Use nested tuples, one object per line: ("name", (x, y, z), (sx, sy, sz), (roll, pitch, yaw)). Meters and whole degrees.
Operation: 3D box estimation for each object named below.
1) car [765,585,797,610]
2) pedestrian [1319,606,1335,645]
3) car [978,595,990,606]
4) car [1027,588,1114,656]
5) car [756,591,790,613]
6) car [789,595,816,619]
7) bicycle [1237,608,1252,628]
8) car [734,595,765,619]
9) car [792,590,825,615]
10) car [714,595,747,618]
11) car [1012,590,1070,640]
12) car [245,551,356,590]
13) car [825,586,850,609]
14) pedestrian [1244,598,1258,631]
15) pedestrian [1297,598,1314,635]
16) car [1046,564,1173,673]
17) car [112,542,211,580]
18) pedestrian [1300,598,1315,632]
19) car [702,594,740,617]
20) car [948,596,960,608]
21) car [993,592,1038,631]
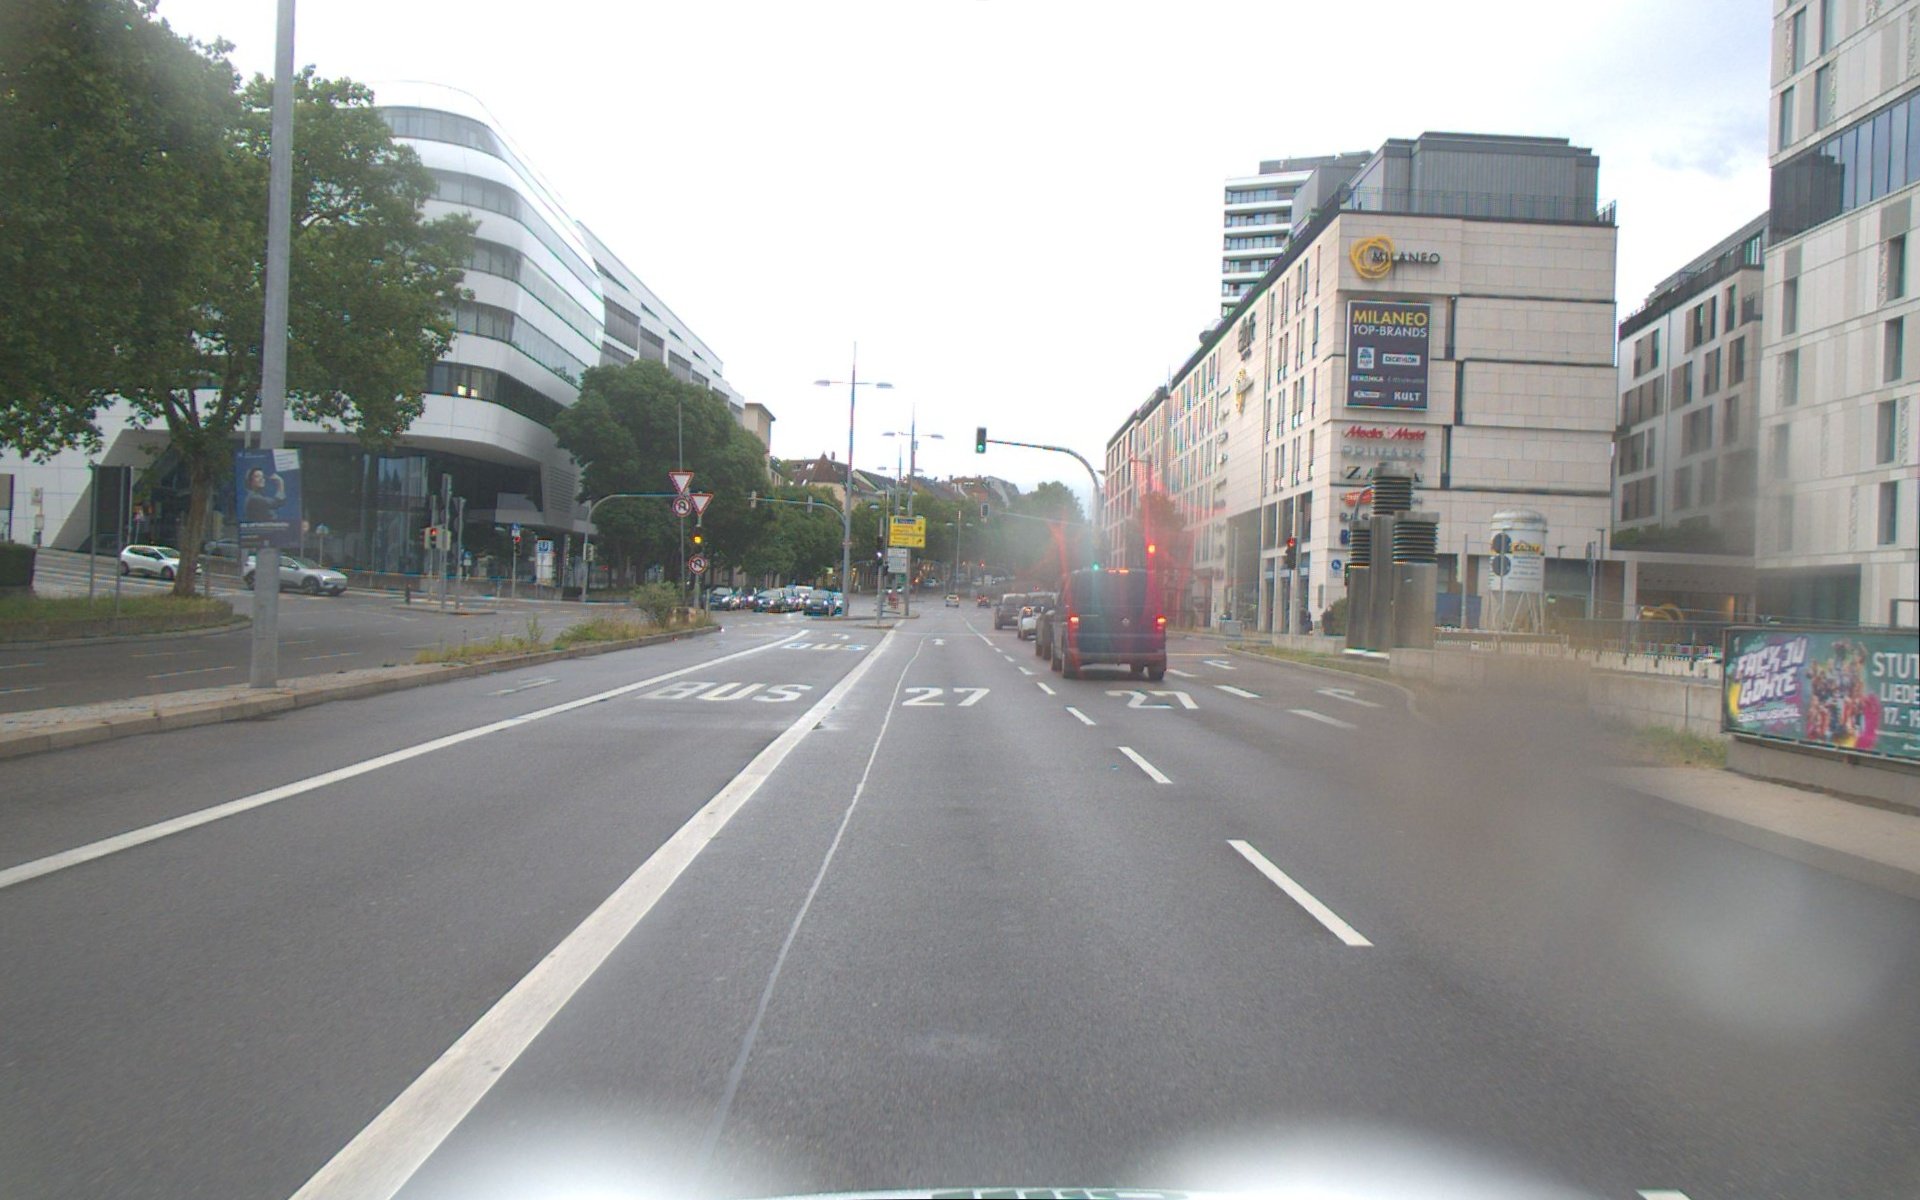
("car", (-11.948, -0.147, 110.632), (1.707, 1.586, 3.539), (1, -1, 0))
("pedestrian", (17.346, 1.200, 78.121), (0.435, 1.811, 0.589), (2, -1, -31))
("car", (3.504, 0.098, 241.107), (1.704, 1.558, 3.813), (1, -1, 0))
("car", (2.625, 0.497, 40.165), (1.754, 1.533, 4.338), (1, 0, -1))
("car", (-11.636, 0.131, 103.059), (1.707, 1.279, 3.539), (2, 0, 0))
("car", (-11.808, 0.547, 124.075), (1.707, 1.779, 3.539), (1, -1, 0))
("bicycle", (14.477, 0.927, 84.267), (0.440, 1.034, 1.742), (1, -1, 0))
("car", (-14.707, 0.500, 115.783), (1.707, 1.586, 3.539), (1, -1, 0))
("car", (-9.342, 0.147, 101.890), (1.707, 1.470, 3.394), (1, -1, 0))
("car", (-15.297, 0.458, 110.207), (1.707, 1.448, 3.539), (1, -1, 0))
("car", (2.648, 0.508, 54.870), (1.689, 1.558, 3.813), (1, -1, 0))
("car", (-29.970, -1.326, 75.145), (4.406, 1.660, 1.896), (1, -1, 16))
("car", (-8.604, -0.143, 116.346), (1.507, 1.503, 3.695), (1, -1, 0))
("pedestrian", (14.830, 0.746, 84.229), (0.539, 1.639, 0.698), (1, -1, 0))
("pedestrian", (16.318, 0.787, 78.060), (0.608, 1.701, 0.824), (1, -1, 0))
("car", (2.765, 0.294, 31.683), (1.991, 1.915, 5.042), (0, 1, 0))
("car", (-37.441, -1.819, 77.588), (3.902, 1.660, 1.896), (1, -1, 16))
("pedestrian", (17.572, 0.758, 83.601), (0.582, 1.671, 0.587), (0, -1, 24))
("car", (-14.636, 0.356, 101.497), (1.707, 1.352, 4.225), (1, -1, 0))
("car", (-0.850, 0.252, 228.751), (1.704, 1.558, 3.814), (1, 0, 0))
("car", (2.283, 0.491, 69.010), (1.704, 1.558, 3.813), (0, -1, 0))
